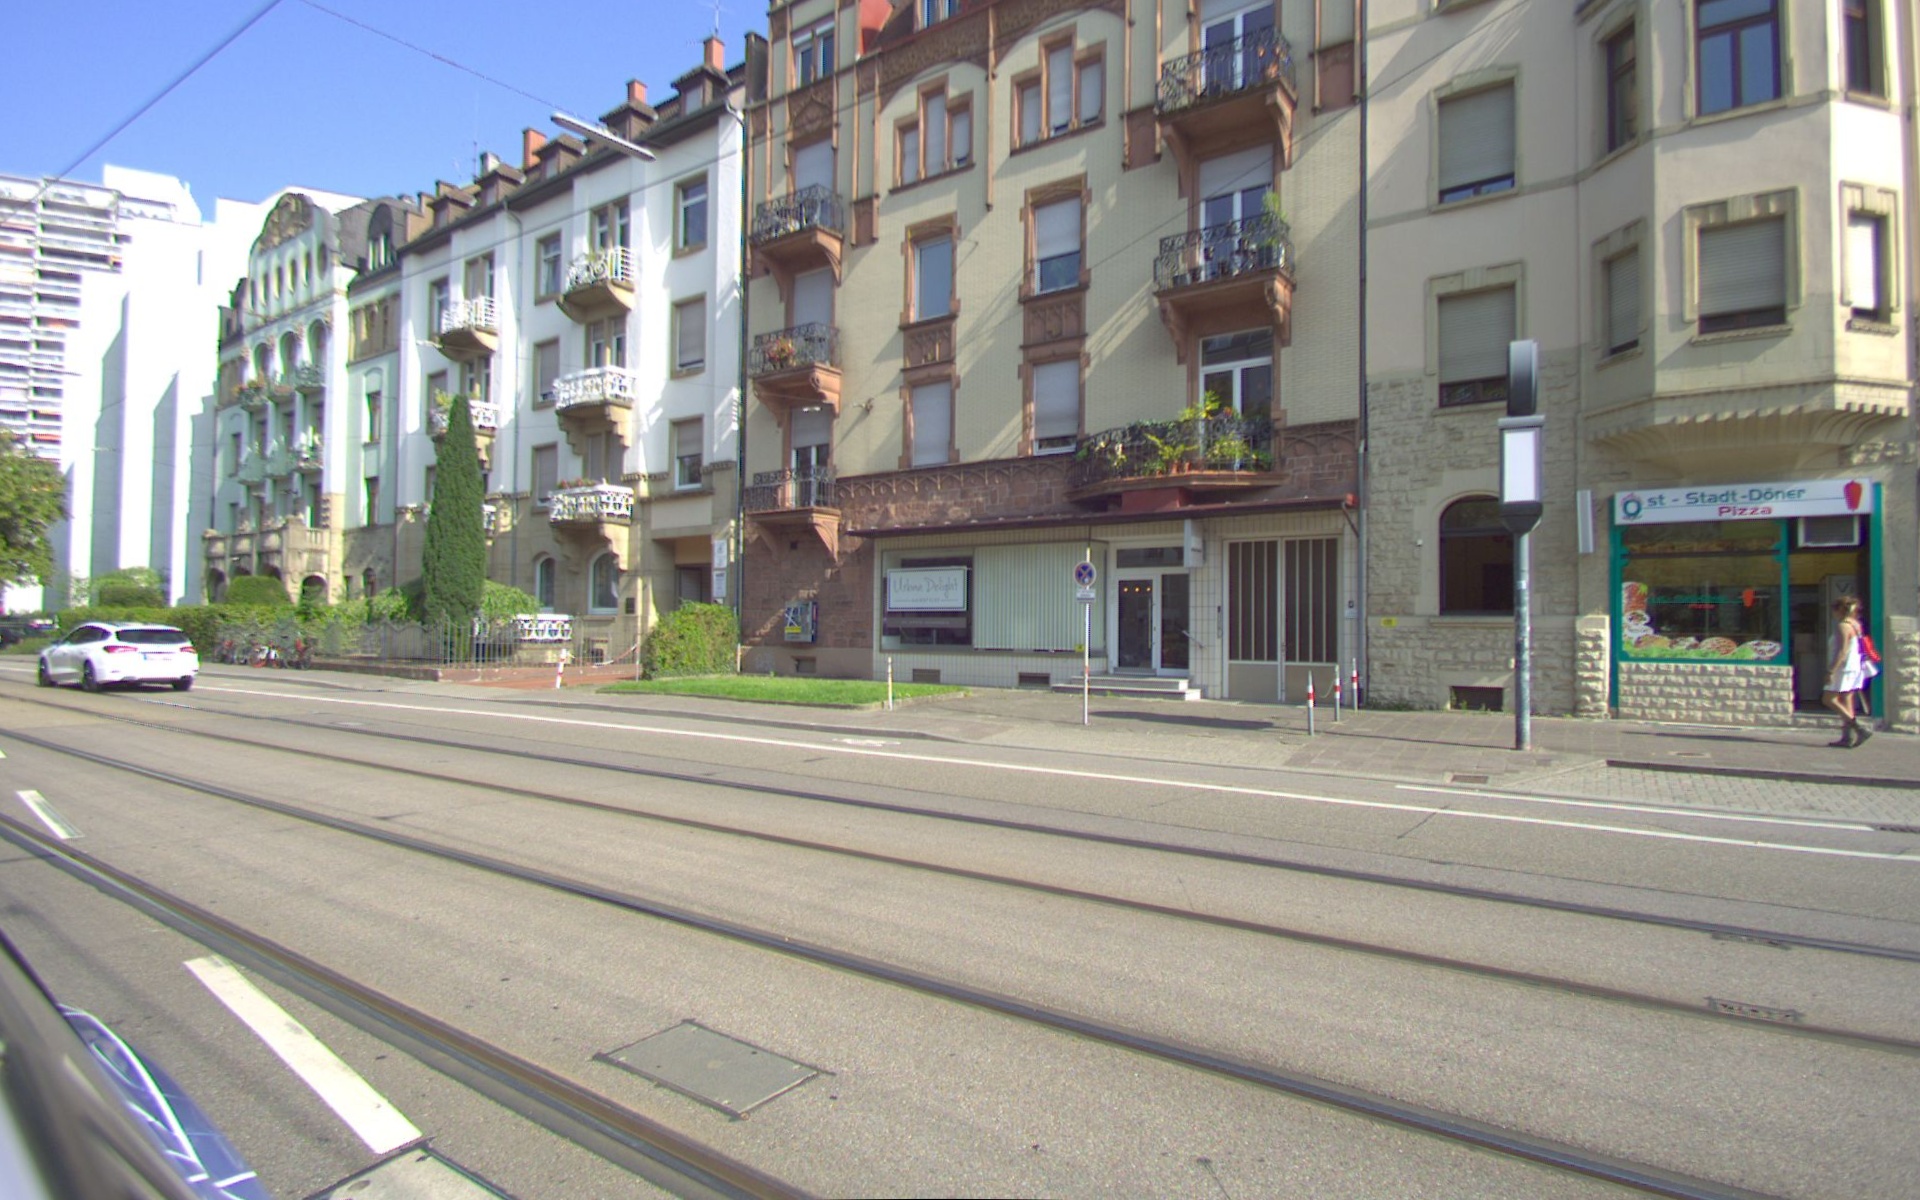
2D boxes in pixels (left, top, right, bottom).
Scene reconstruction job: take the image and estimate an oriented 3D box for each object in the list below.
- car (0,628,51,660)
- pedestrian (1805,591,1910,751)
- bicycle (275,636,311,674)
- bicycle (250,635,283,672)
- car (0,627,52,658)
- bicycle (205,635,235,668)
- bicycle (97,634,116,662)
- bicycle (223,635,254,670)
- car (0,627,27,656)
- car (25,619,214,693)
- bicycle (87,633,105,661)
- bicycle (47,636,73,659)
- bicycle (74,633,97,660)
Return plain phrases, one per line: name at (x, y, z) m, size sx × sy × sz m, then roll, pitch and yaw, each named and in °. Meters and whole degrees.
car at (-46.677, 2.122, 49.357) m, size 1.743 × 1.539 × 4.010 m, roll 1°, pitch -2°, yaw -13°
pedestrian at (11.022, 0.850, 12.463) m, size 0.828 × 1.874 × 0.767 m, roll -1°, pitch -3°, yaw 34°
bicycle at (-19.694, 1.614, 29.884) m, size 1.485 × 1.096 × 0.367 m, roll -1°, pitch -3°, yaw 36°
bicycle at (-21.169, 1.631, 30.867) m, size 1.352 × 1.096 × 0.367 m, roll -1°, pitch -3°, yaw 36°
car at (-49.314, 2.165, 52.165) m, size 1.744 × 1.539 × 4.007 m, roll 1°, pitch -2°, yaw -8°
bicycle at (-24.677, 1.713, 33.731) m, size 1.352 × 1.096 × 0.367 m, roll -1°, pitch -3°, yaw 36°
bicycle at (-34.445, 1.919, 40.847) m, size 0.419 × 1.096 × 1.677 m, roll 3°, pitch -3°, yaw -45°
bicycle at (-23.285, 1.674, 32.640) m, size 1.352 × 1.096 × 0.367 m, roll -1°, pitch -3°, yaw 36°
car at (-51.797, 2.201, 53.573) m, size 1.743 × 1.539 × 4.010 m, roll 1°, pitch -2°, yaw -13°
car at (-18.416, 1.214, 22.132) m, size 4.532 × 1.466 × 1.857 m, roll -1°, pitch -5°, yaw 33°
bicycle at (-35.182, 1.915, 41.207) m, size 0.419 × 1.096 × 1.677 m, roll 3°, pitch -3°, yaw -45°
bicycle at (-39.468, 2.090, 44.377) m, size 1.766 × 0.985 × 0.421 m, roll -1°, pitch -3°, yaw 35°
bicycle at (-36.725, 1.947, 42.499) m, size 1.674 × 1.096 × 0.420 m, roll -1°, pitch -3°, yaw 39°
